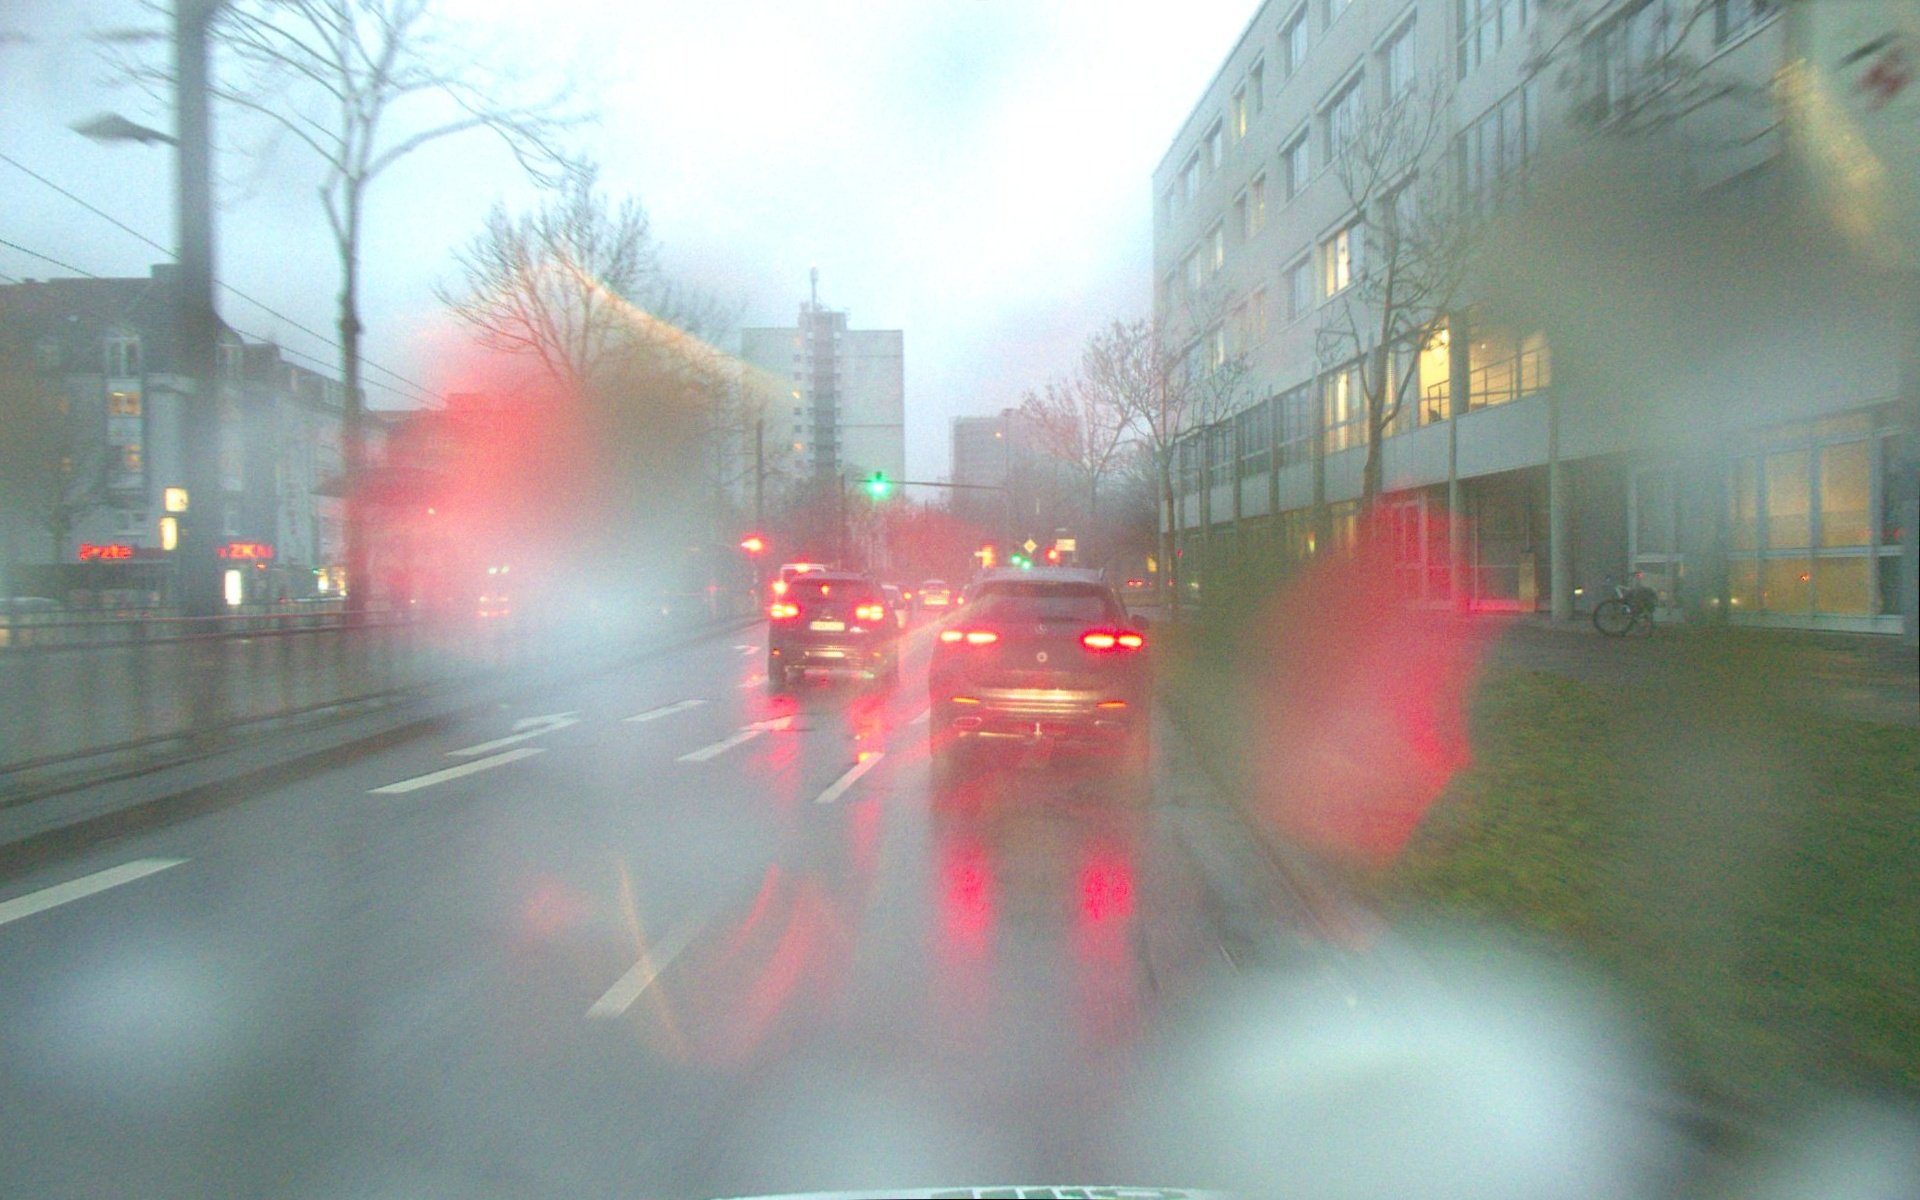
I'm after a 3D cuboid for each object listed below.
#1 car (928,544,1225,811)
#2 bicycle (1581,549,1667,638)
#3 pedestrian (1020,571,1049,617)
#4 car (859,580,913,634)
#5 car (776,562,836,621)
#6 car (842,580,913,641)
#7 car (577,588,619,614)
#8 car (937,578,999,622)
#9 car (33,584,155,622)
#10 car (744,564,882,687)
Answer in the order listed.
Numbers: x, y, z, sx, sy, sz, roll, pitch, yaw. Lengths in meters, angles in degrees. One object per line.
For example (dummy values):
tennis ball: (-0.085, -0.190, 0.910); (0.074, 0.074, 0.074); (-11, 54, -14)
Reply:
car: (0.857, 0.609, 14.574); (1.955, 2.010, 4.063); (1, -1, -6)
bicycle: (10.556, -0.131, 26.384); (0.805, 1.295, 2.460); (-4, 1, 13)
pedestrian: (3.039, -0.244, 67.384); (0.780, 1.780, 0.861); (-4, 1, 24)
car: (-2.912, 0.278, 65.909); (1.953, 2.049, 3.999); (1, -1, 0)
car: (-5.582, -0.322, 60.281); (1.913, 2.069, 4.881); (0, 0, -2)
car: (-2.408, 0.310, 48.522); (1.953, 1.671, 4.020); (1, -1, -3)
car: (-22.331, 0.069, 102.138); (1.723, 1.523, 3.759); (1, -1, 1)
car: (0.233, -0.025, 55.189); (1.849, 1.377, 4.099); (1, 1, -3)
car: (-32.860, 0.131, 62.842); (3.726, 1.390, 1.695); (1, -1, -8)
car: (-2.265, 0.384, 25.883); (1.954, 1.742, 4.320); (1, -1, -4)
